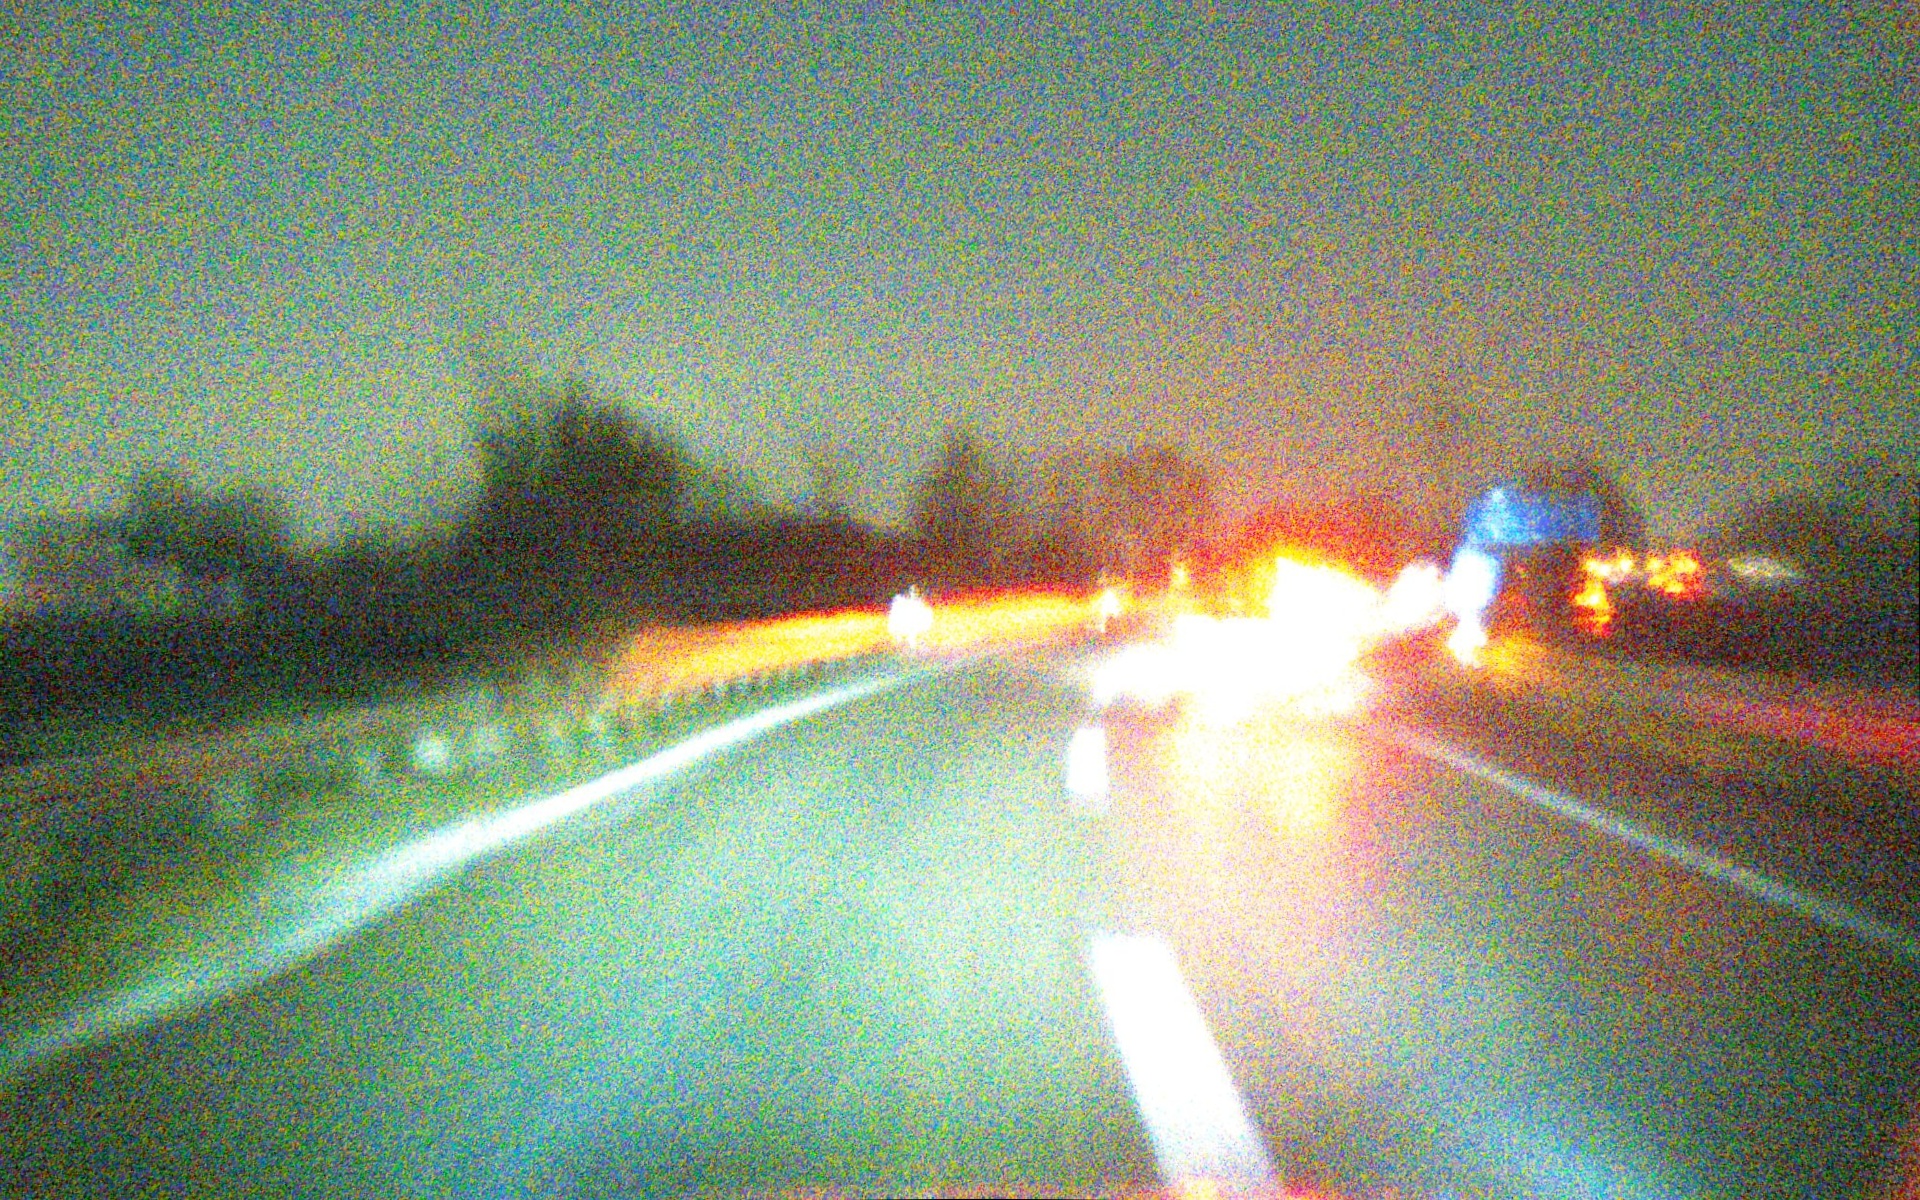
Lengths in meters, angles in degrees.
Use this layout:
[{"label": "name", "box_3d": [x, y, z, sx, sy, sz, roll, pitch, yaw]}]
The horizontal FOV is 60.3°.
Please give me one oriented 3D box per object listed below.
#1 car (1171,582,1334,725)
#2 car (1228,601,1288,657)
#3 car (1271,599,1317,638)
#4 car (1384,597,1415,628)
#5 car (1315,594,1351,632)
[{"label": "car", "box_3d": [3.796, 0.637, 22.053, 1.821, 1.676, 4.071, 1, 0, 6]}, {"label": "car", "box_3d": [10.256, 0.994, 56.707, 1.821, 1.738, 4.072, 3, 0, 12]}, {"label": "car", "box_3d": [15.569, 0.862, 77.016, 1.855, 1.750, 4.048, 1, 0, 14]}, {"label": "car", "box_3d": [29.679, 0.833, 111.631, 1.855, 2.033, 4.048, 0, 0, 17]}, {"label": "car", "box_3d": [21.034, 0.725, 93.276, 1.855, 2.076, 4.048, 1, 0, 14]}]
